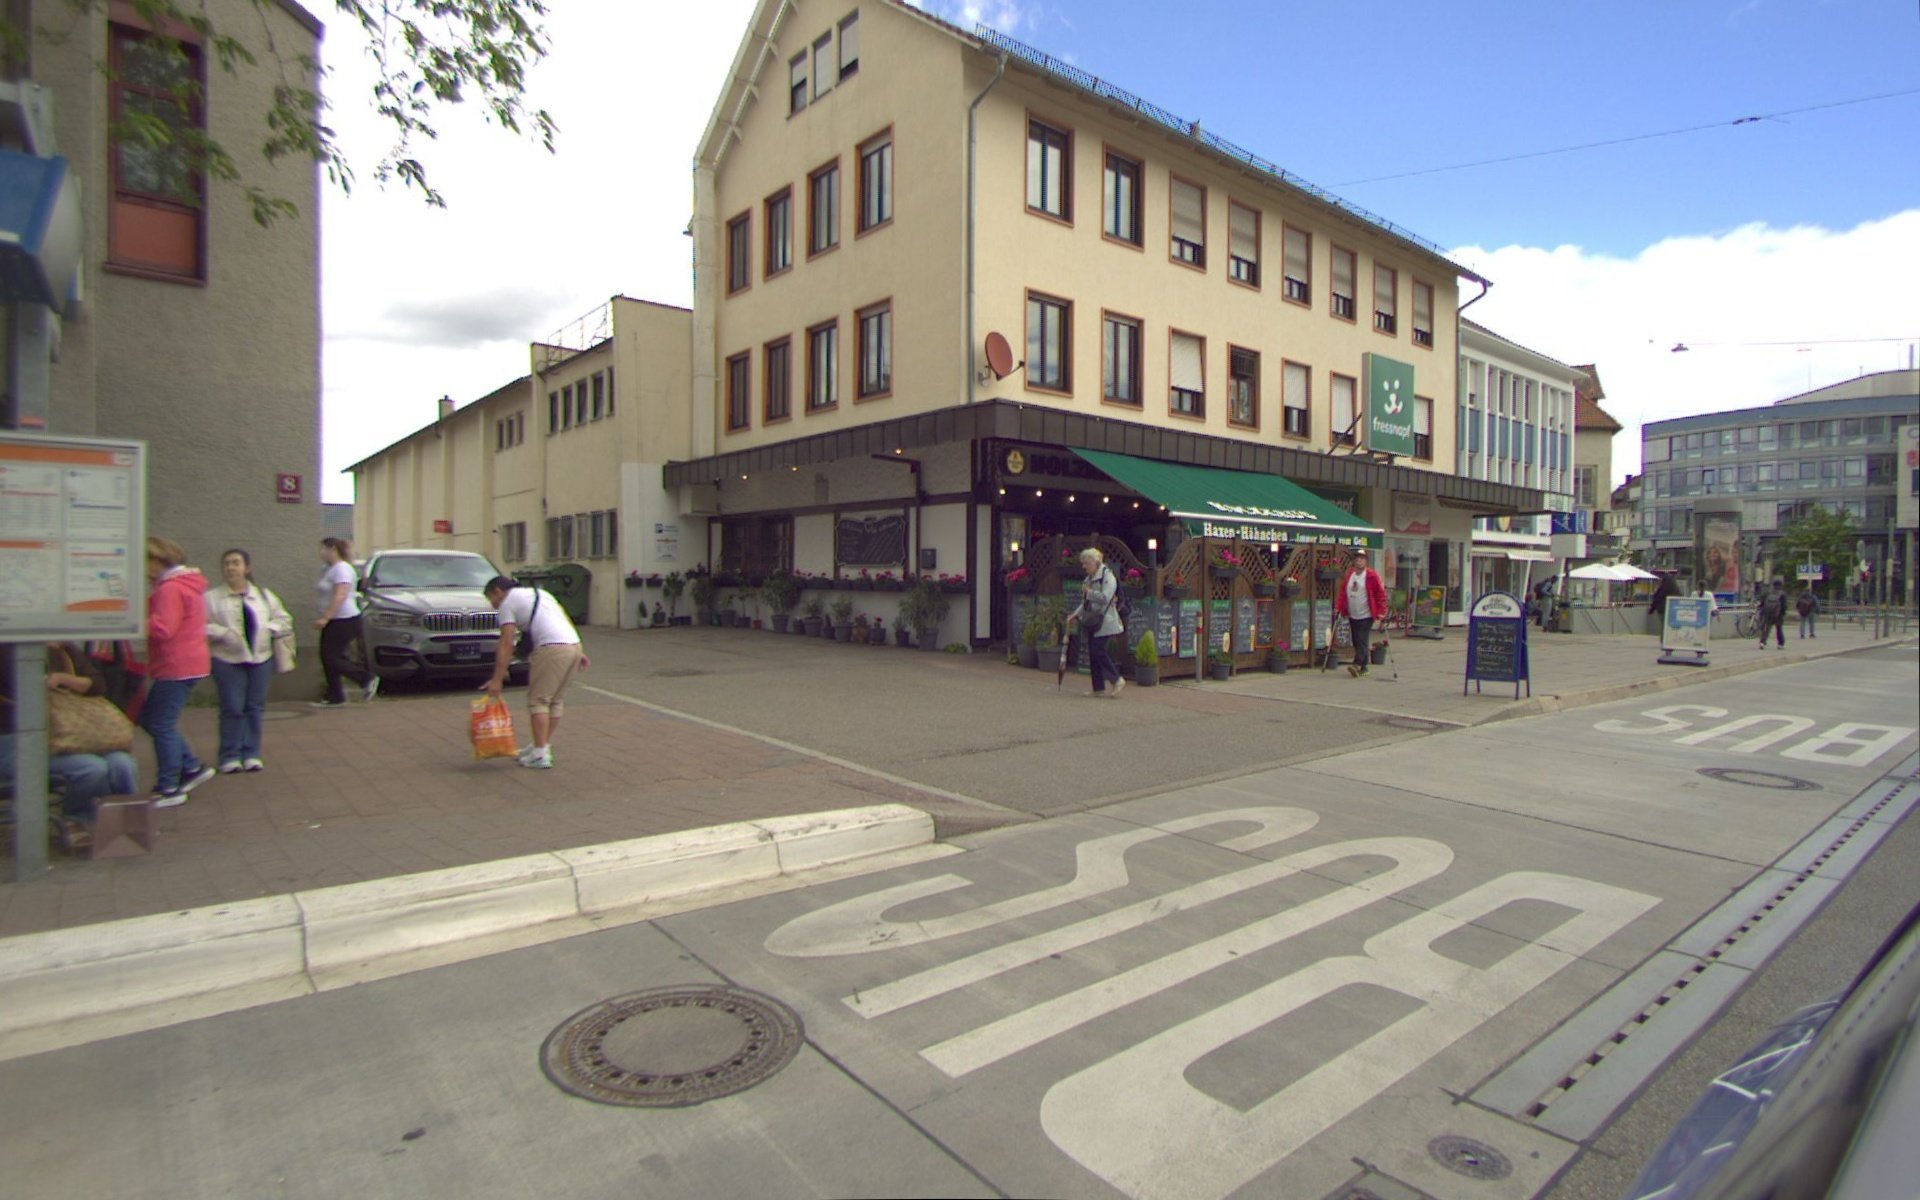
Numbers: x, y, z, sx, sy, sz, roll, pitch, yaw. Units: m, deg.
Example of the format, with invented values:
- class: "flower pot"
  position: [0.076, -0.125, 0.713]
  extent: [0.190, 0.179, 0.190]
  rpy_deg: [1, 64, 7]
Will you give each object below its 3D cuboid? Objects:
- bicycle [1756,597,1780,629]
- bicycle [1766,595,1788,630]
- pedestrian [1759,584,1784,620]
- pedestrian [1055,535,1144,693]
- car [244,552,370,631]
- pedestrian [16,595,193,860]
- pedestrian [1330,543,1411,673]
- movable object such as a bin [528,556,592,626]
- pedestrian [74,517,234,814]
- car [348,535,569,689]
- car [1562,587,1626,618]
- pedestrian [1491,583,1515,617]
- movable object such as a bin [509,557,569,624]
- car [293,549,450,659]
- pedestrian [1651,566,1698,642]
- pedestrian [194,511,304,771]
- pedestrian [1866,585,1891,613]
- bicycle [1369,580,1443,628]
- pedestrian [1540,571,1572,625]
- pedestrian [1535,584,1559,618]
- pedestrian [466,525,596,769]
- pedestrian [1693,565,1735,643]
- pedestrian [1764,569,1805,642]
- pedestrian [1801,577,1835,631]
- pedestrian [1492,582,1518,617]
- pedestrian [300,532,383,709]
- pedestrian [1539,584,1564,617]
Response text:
- class: "bicycle"
  position: [24.816, 0.392, 31.074]
  extent: [1.362, 0.986, 0.274]
  rpy_deg: [0, 0, -40]
- class: "bicycle"
  position: [25.894, 0.393, 32.071]
  extent: [1.362, 1.066, 0.274]
  rpy_deg: [0, 0, -40]
- class: "pedestrian"
  position: [37.612, 0.105, 46.910]
  extent: [0.580, 1.643, 0.740]
  rpy_deg: [-2, -2, 18]
- class: "pedestrian"
  position: [1.627, 0.129, 11.807]
  extent: [0.682, 1.763, 0.770]
  rpy_deg: [3, 4, 44]
- class: "car"
  position: [-14.046, -0.181, 21.686]
  extent: [1.804, 1.526, 3.946]
  rpy_deg: [0, 0, -40]
- class: "pedestrian"
  position: [-4.215, 0.570, 4.984]
  extent: [0.711, 1.181, 0.579]
  rpy_deg: [0, -1, 43]
- class: "pedestrian"
  position: [5.810, 0.077, 14.323]
  extent: [0.795, 1.763, 0.770]
  rpy_deg: [3, 4, 44]
- class: "movable object such as a bin"
  position: [-9.427, -0.212, 23.831]
  extent: [1.098, 1.583, 1.106]
  rpy_deg: [0, 0, -41]
- class: "pedestrian"
  position: [-4.598, 0.355, 5.814]
  extent: [0.481, 1.587, 0.675]
  rpy_deg: [1, -2, -20]
- class: "car"
  position: [-6.667, 0.105, 13.169]
  extent: [1.845, 1.640, 4.618]
  rpy_deg: [0, 0, -36]
- class: "car"
  position: [41.349, 0.121, 66.106]
  extent: [1.850, 1.919, 4.912]
  rpy_deg: [0, 0, 10]
- class: "pedestrian"
  position: [19.881, 0.006, 37.036]
  extent: [0.578, 1.235, 0.614]
  rpy_deg: [1, -1, -43]
- class: "movable object such as a bin"
  position: [-10.354, -0.232, 24.881]
  extent: [1.098, 1.583, 1.106]
  rpy_deg: [0, 0, -41]
- class: "car"
  position: [-10.046, 0.041, 17.131]
  extent: [1.803, 1.640, 3.948]
  rpy_deg: [0, 0, -38]
- class: "pedestrian"
  position: [15.993, 0.073, 22.648]
  extent: [0.605, 1.654, 0.719]
  rpy_deg: [-1, 2, -43]
- class: "pedestrian"
  position: [-4.808, 0.259, 6.854]
  extent: [0.577, 1.655, 0.615]
  rpy_deg: [0, 0, -36]
- class: "pedestrian"
  position: [56.159, -0.052, 61.897]
  extent: [0.834, 1.656, 0.641]
  rpy_deg: [-2, -2, 17]
- class: "bicycle"
  position: [10.682, 0.086, 24.188]
  extent: [2.311, 1.076, 0.742]
  rpy_deg: [0, 2, -42]
- class: "pedestrian"
  position: [18.559, -0.080, 31.513]
  extent: [0.787, 1.655, 0.667]
  rpy_deg: [0, 0, -43]
- class: "pedestrian"
  position: [21.955, 0.023, 37.861]
  extent: [0.578, 1.235, 0.614]
  rpy_deg: [1, 1, -43]
- class: "pedestrian"
  position: [-3.104, 0.305, 7.309]
  extent: [0.778, 1.654, 0.616]
  rpy_deg: [1, 3, -29]
- class: "pedestrian"
  position: [16.421, 0.071, 22.045]
  extent: [0.605, 1.654, 0.613]
  rpy_deg: [-1, 2, -43]
- class: "pedestrian"
  position: [19.503, 0.116, 23.947]
  extent: [0.604, 1.699, 0.613]
  rpy_deg: [0, 1, -38]
- class: "pedestrian"
  position: [26.941, 0.126, 31.792]
  extent: [0.838, 1.655, 0.689]
  rpy_deg: [0, 0, -41]
- class: "pedestrian"
  position: [19.569, -0.012, 36.330]
  extent: [0.578, 1.236, 0.613]
  rpy_deg: [1, -3, -43]
- class: "pedestrian"
  position: [-6.038, 0.185, 9.880]
  extent: [0.604, 1.655, 0.587]
  rpy_deg: [0, 0, -40]
- class: "pedestrian"
  position: [22.390, 0.020, 38.305]
  extent: [0.578, 1.236, 0.613]
  rpy_deg: [1, -3, -43]
